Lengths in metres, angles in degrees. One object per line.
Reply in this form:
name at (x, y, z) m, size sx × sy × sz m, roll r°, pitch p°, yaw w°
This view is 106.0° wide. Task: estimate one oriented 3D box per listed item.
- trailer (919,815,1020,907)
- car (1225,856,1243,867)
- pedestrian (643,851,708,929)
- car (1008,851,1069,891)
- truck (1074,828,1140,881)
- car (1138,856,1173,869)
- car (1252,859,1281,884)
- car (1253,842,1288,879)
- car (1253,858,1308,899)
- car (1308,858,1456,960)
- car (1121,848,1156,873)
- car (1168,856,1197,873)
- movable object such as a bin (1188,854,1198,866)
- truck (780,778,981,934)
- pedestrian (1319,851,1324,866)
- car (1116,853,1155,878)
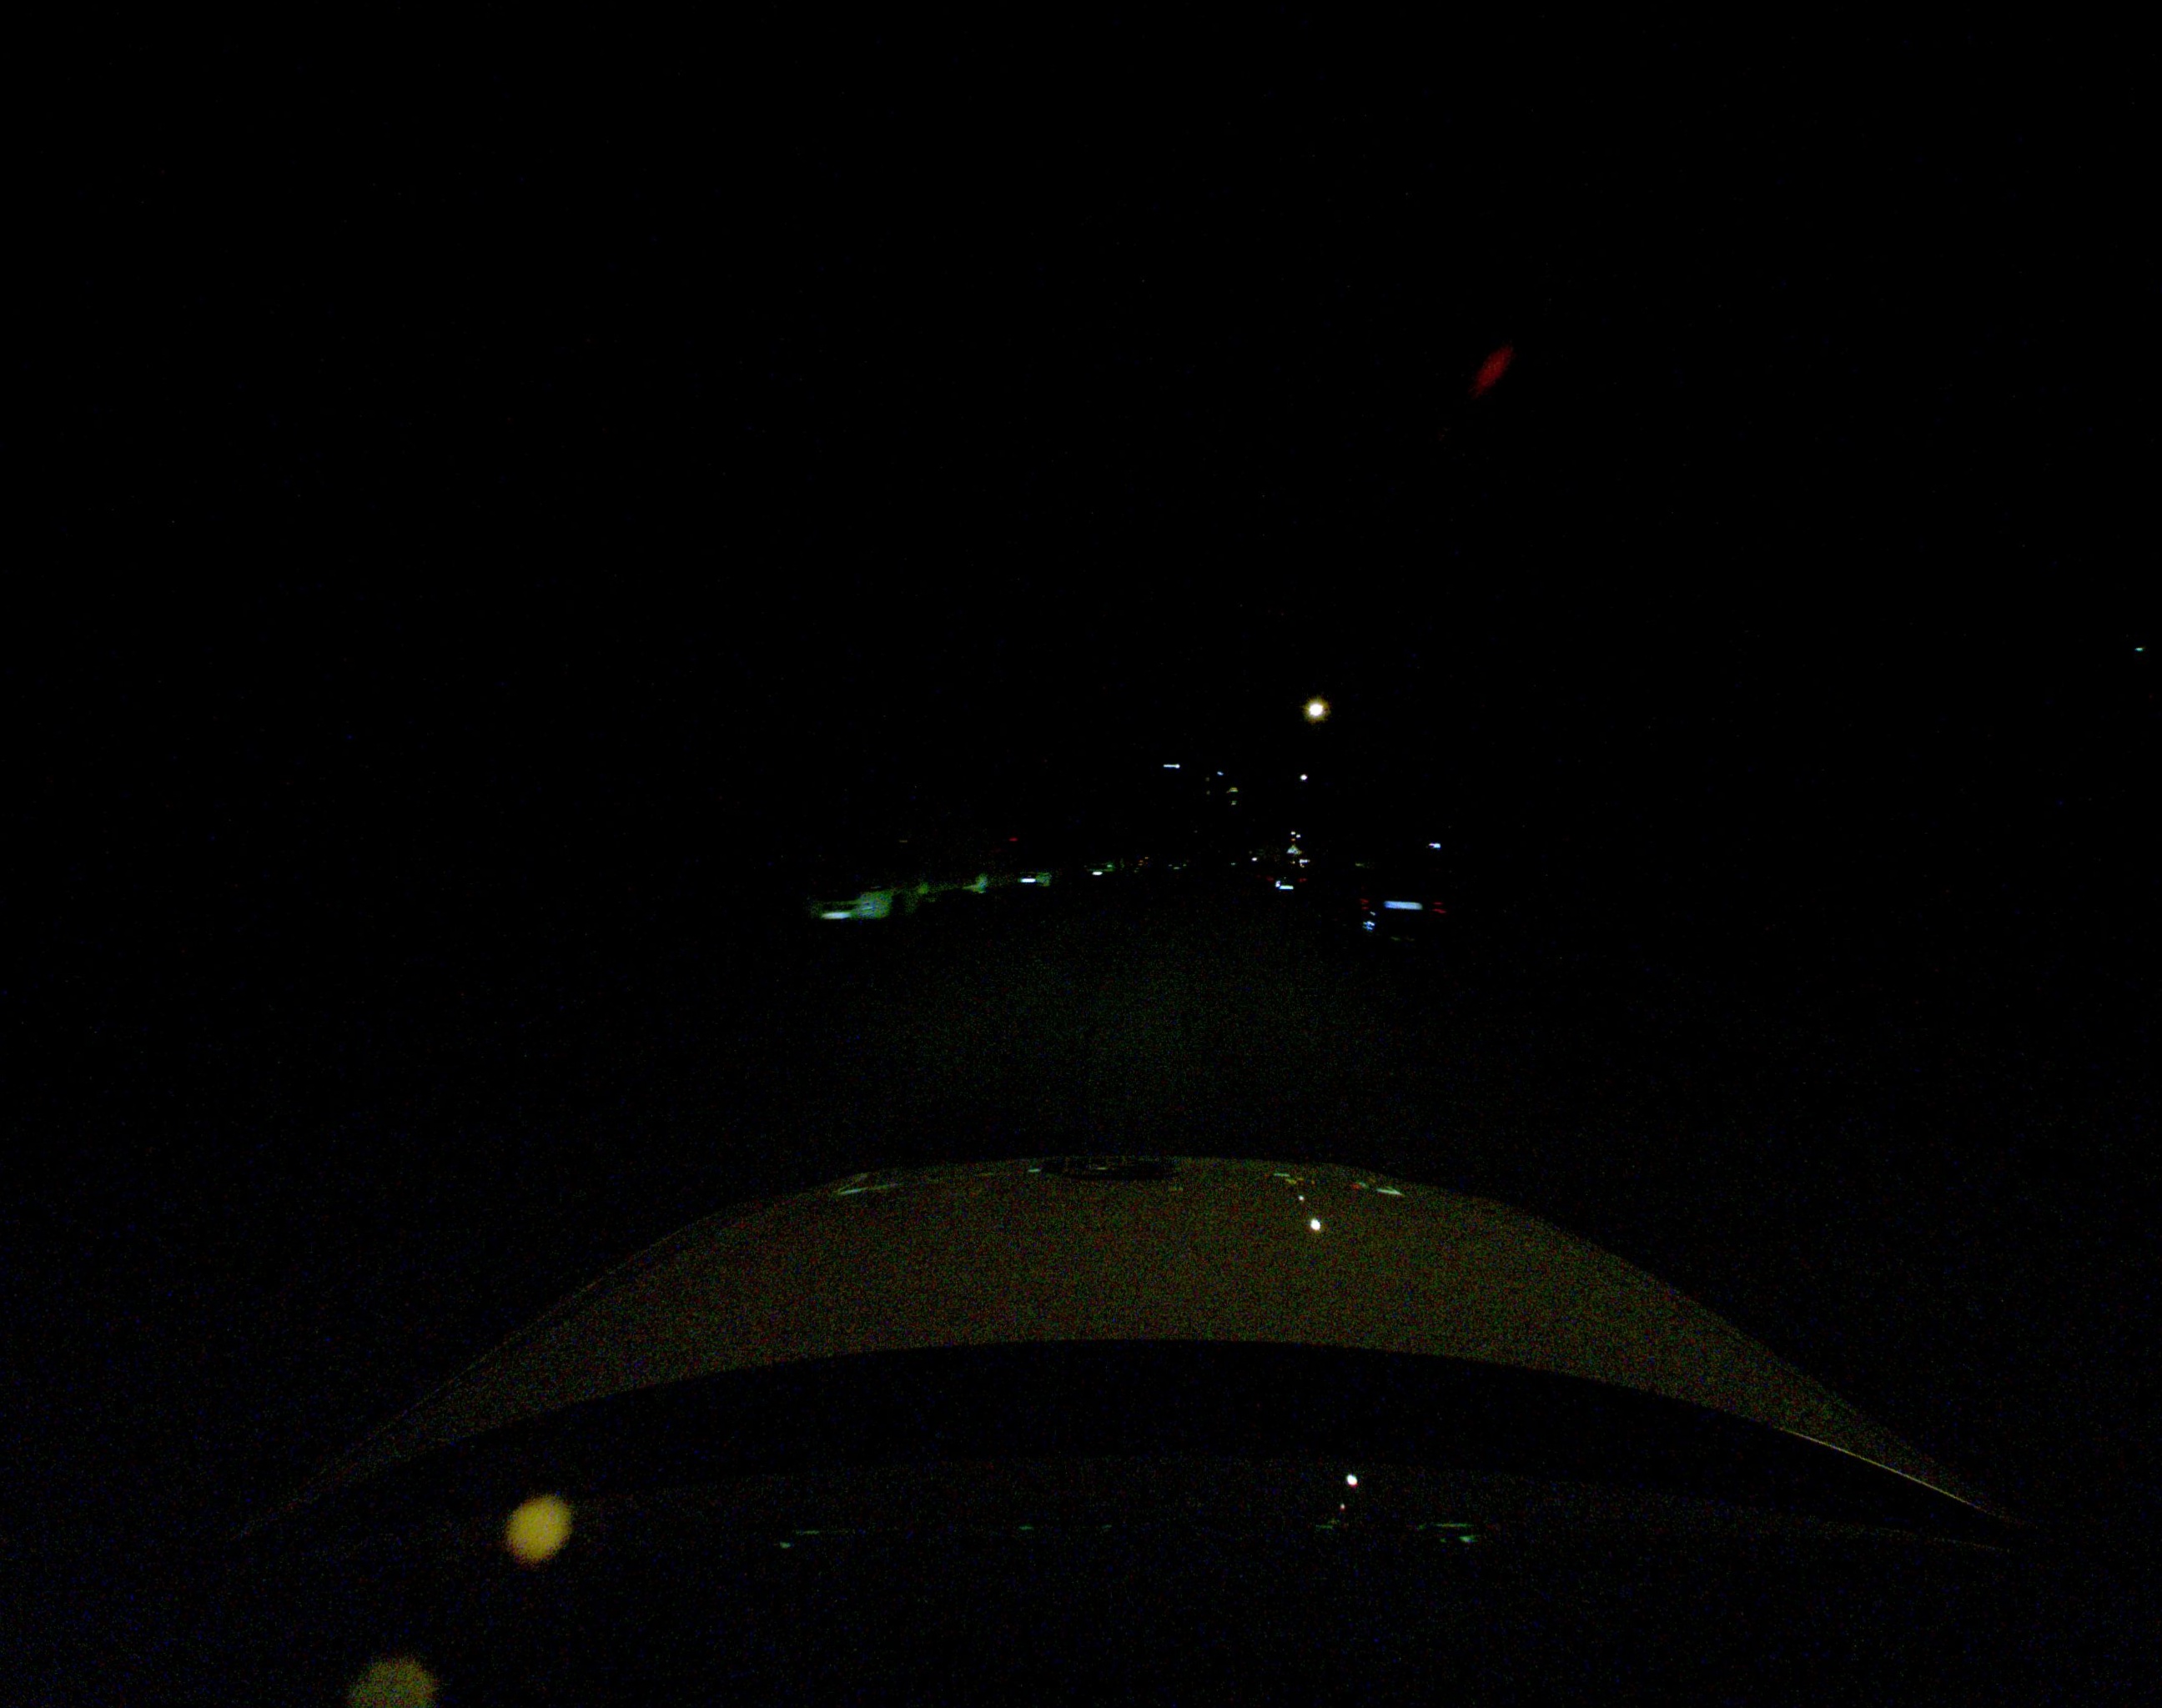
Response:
trailer at (-3.611, 0.214, 27.289) m, size 2.193 × 2.795 × 4.626 m, roll 0°, pitch 0°, yaw 7°
car at (21.912, 1.075, 116.267) m, size 1.895 × 1.404 × 4.359 m, roll -1°, pitch 0°, yaw 19°
pedestrian at (-8.940, 0.772, 17.969) m, size 0.769 × 1.671 × 1.013 m, roll -2°, pitch -1°, yaw 33°
car at (-1.935, 0.769, 38.416) m, size 1.982 × 1.772 × 4.703 m, roll 0°, pitch 0°, yaw 8°
truck at (1.857, 0.038, 54.489) m, size 2.524 × 3.280 × 7.344 m, roll -1°, pitch 0°, yaw 17°
car at (9.086, 1.049, 99.243) m, size 3.955 × 1.571 × 1.825 m, roll -1°, pitch 0°, yaw 18°
car at (11.955, 1.081, 52.409) m, size 1.698 × 1.508 × 4.658 m, roll 0°, pitch 0°, yaw 14°
car at (13.895, 0.441, 59.441) m, size 2.005 × 2.526 × 6.079 m, roll 1°, pitch 0°, yaw 18°
car at (8.010, 0.949, 32.917) m, size 1.701 × 1.508 × 4.008 m, roll 1°, pitch 0°, yaw 7°
car at (5.220, 0.869, 14.606) m, size 1.600 × 1.512 × 3.832 m, roll 2°, pitch 0°, yaw 7°
car at (5.814, 0.644, 81.859) m, size 1.976 × 2.321 × 4.993 m, roll -2°, pitch -1°, yaw 22°
car at (9.785, 0.997, 78.312) m, size 1.740 × 1.526 × 4.343 m, roll 1°, pitch -1°, yaw 20°
movable object such as a bin at (14.412, 0.759, 104.738) m, size 1.155 × 1.496 × 1.070 m, roll -1°, pitch 0°, yaw 15°
truck at (-4.669, 0.057, 20.690) m, size 2.359 × 3.243 × 7.249 m, roll 0°, pitch 0°, yaw 8°
pedestrian at (28.931, 0.532, 98.082) m, size 0.565 × 1.853 × 0.824 m, roll -1°, pitch 0°, yaw 19°
car at (4.101, 0.822, 60.777) m, size 1.815 × 1.816 × 4.859 m, roll -1°, pitch 0°, yaw 17°
